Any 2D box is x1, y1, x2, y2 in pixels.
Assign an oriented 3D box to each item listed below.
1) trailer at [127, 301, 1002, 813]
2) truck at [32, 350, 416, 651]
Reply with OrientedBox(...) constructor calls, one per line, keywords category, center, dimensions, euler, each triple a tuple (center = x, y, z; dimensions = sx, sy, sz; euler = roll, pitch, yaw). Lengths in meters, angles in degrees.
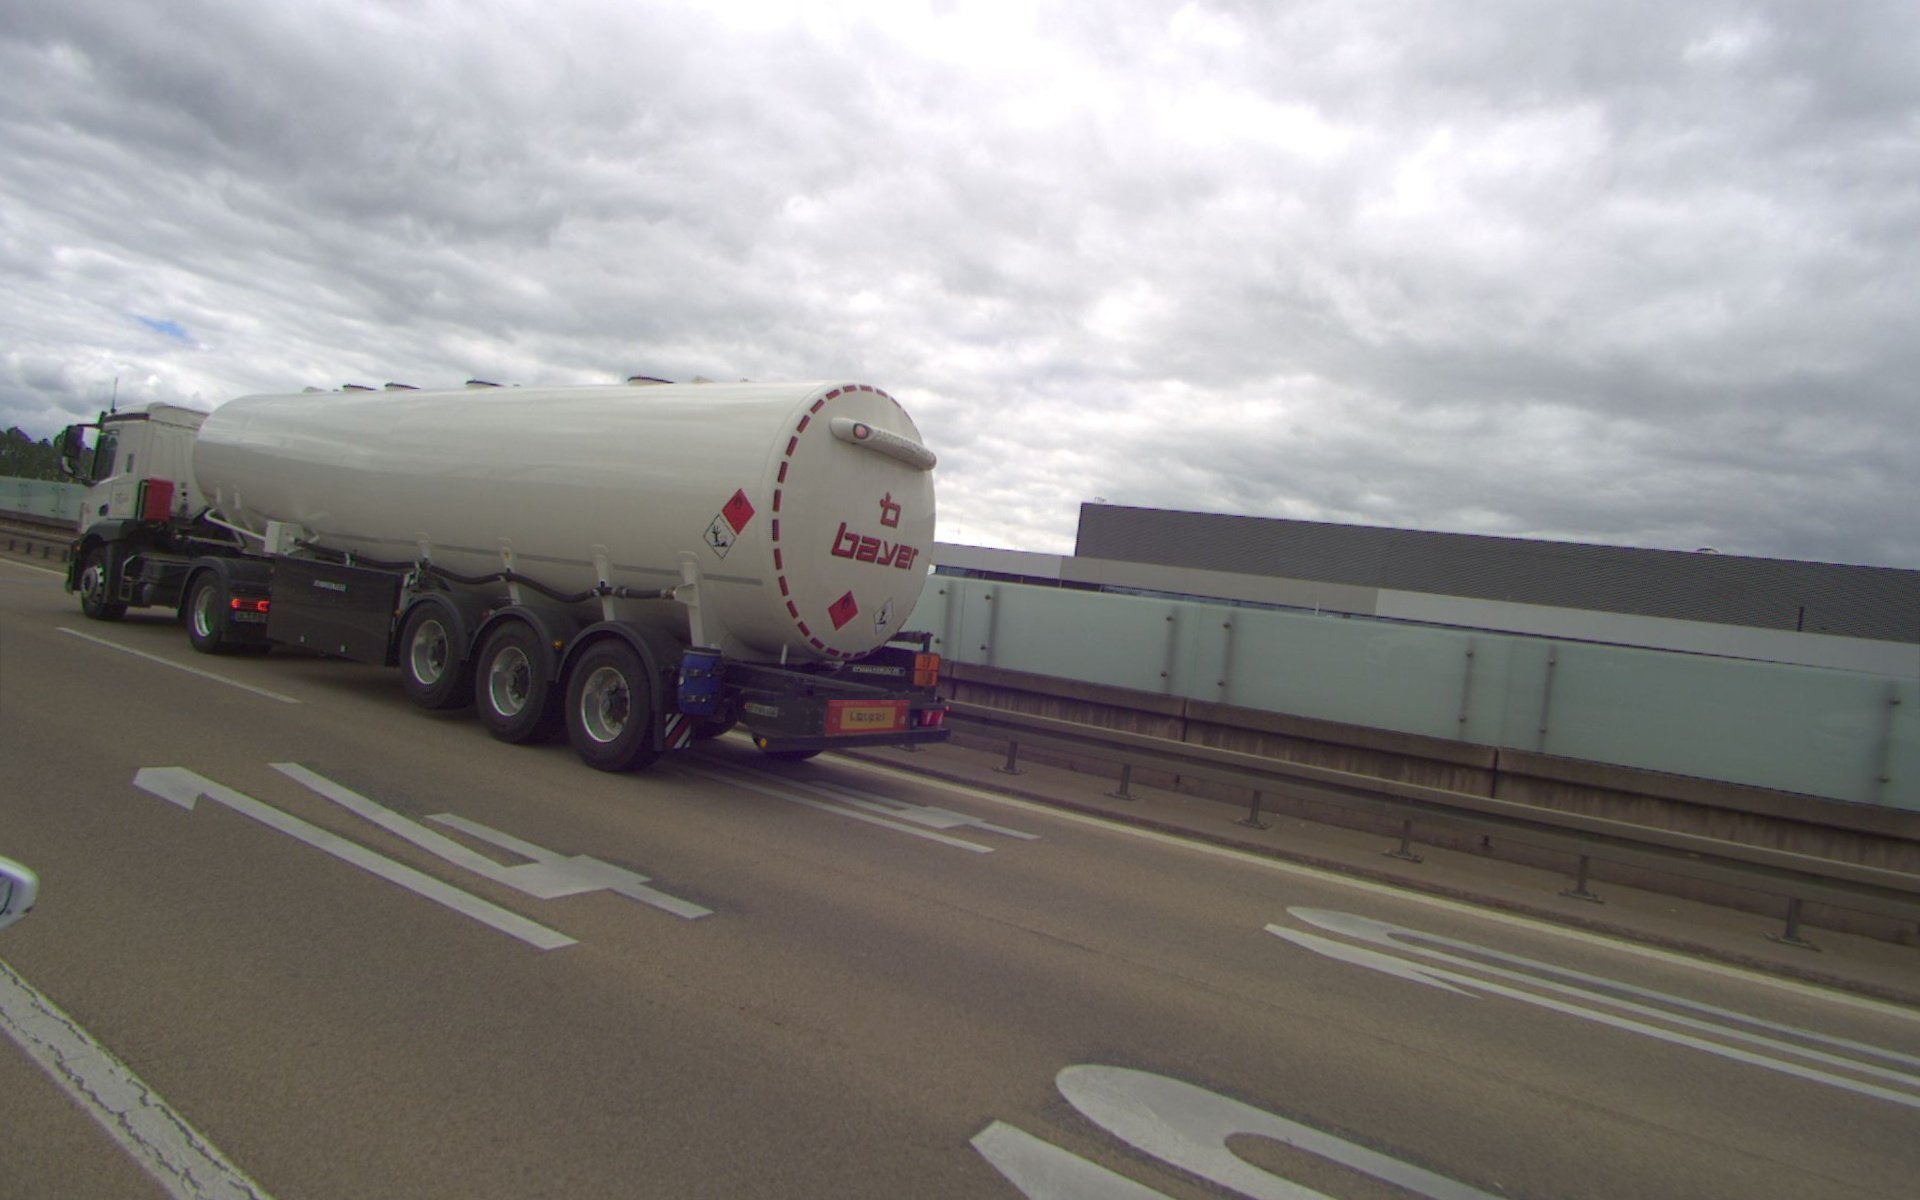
OrientedBox(category="trailer", center=(-5.149, -0.691, 11.076), dimensions=(11.036, 3.585, 2.654), euler=(6, -1, 32))
OrientedBox(category="truck", center=(-10.782, -1.398, 14.688), dimensions=(4.823, 3.555, 2.635), euler=(7, -1, 32))
